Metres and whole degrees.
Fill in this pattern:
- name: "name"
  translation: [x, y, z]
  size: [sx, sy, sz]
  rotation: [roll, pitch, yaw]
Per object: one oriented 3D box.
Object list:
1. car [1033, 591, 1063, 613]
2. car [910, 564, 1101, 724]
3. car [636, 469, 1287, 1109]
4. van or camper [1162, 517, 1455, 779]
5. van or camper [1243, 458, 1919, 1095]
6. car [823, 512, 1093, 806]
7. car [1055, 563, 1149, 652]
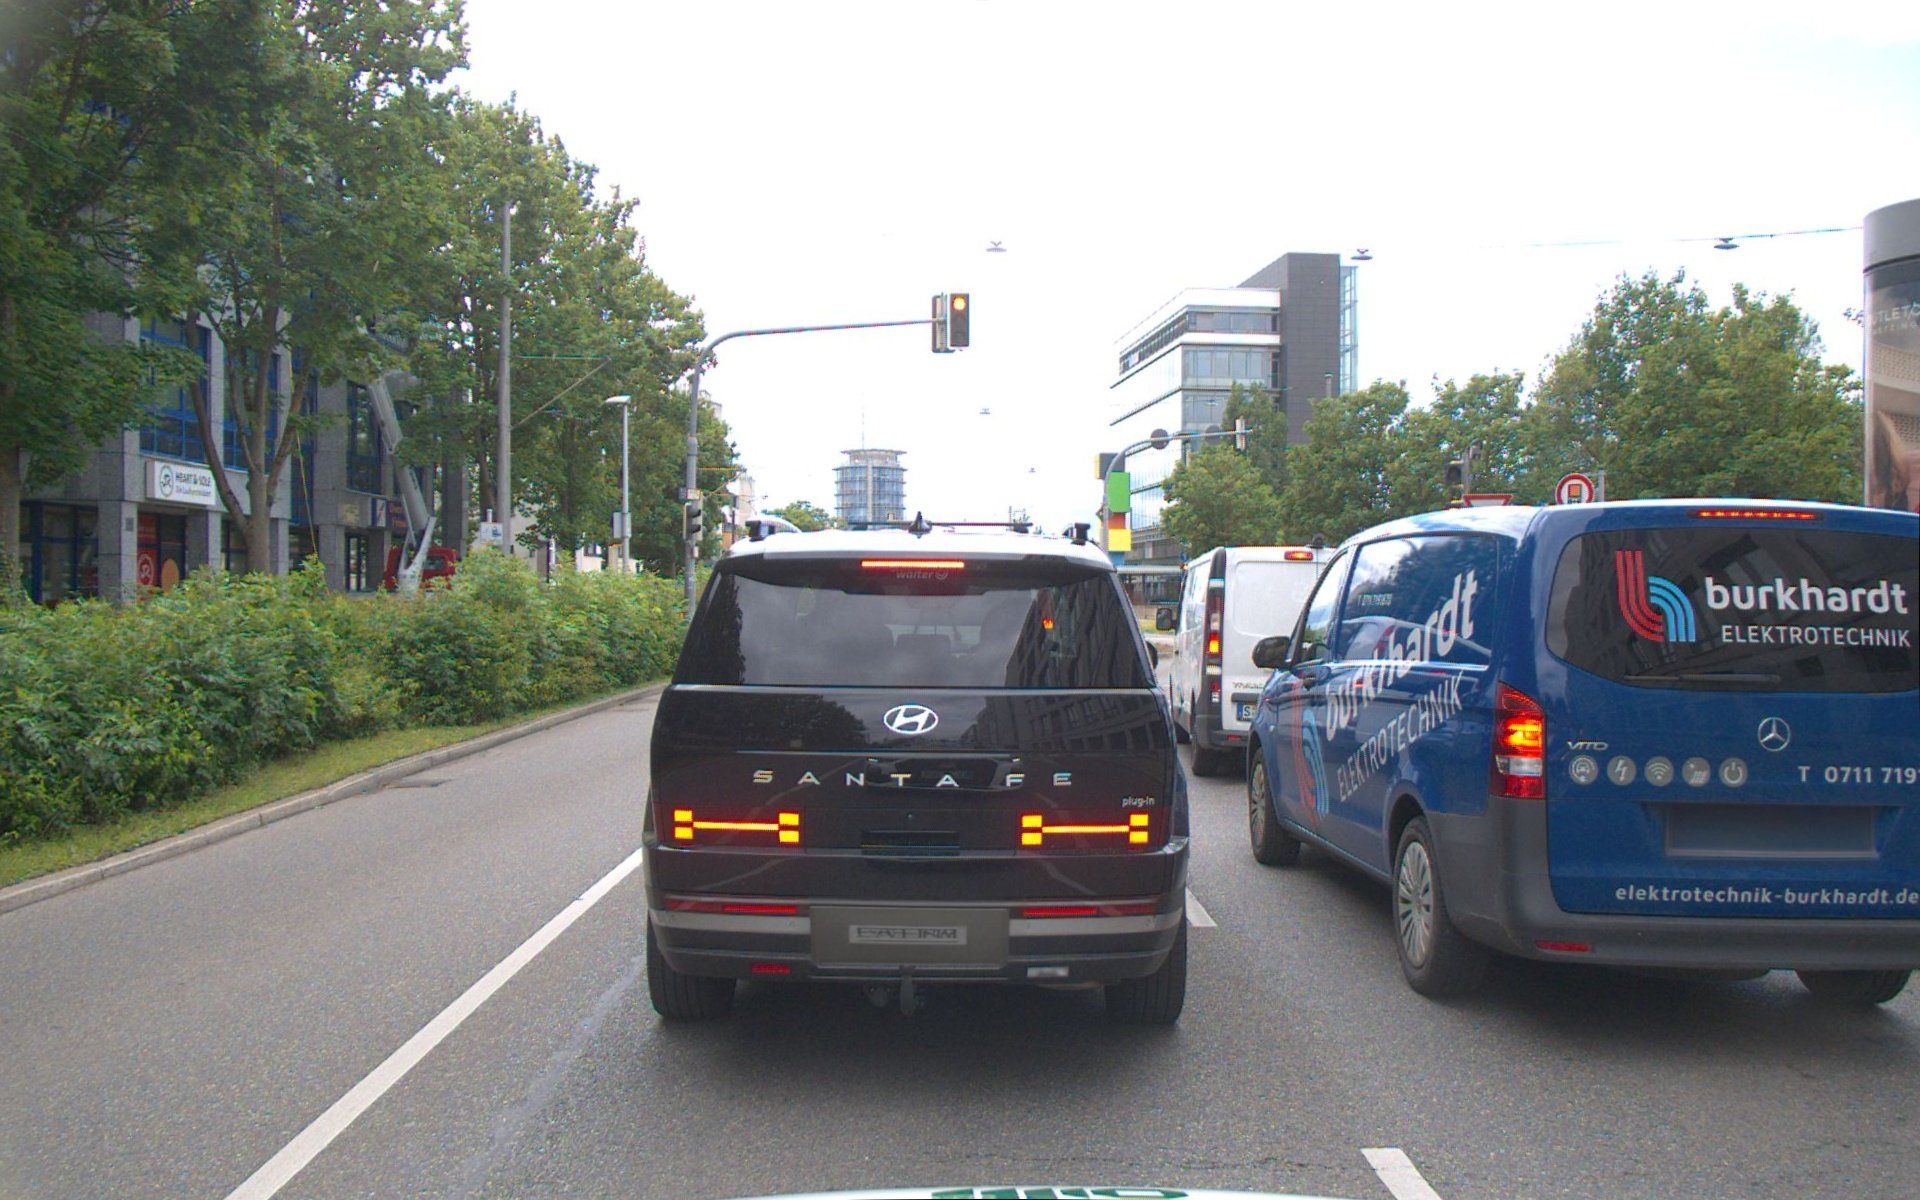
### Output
- name: "car"
  translation: [7.015, 0.171, 131.923]
  size: [1.954, 1.713, 3.997]
  rotation: [1, 0, -3]
- name: "car"
  translation: [0.676, 0.501, 20.431]
  size: [1.738, 1.747, 4.342]
  rotation: [1, 0, 10]
- name: "car"
  translation: [-0.017, 0.520, 6.591]
  size: [1.831, 1.791, 3.879]
  rotation: [0, 0, -1]
- name: "van or camper"
  translation: [3.045, 0.370, 15.449]
  size: [1.952, 2.049, 4.654]
  rotation: [1, 0, 3]
- name: "van or camper"
  translation: [2.671, 0.526, 7.581]
  size: [1.822, 1.944, 5.031]
  rotation: [0, 0, -1]
- name: "car"
  translation: [-0.042, 0.401, 13.425]
  size: [1.876, 2.038, 3.879]
  rotation: [0, 0, -1]
- name: "car"
  translation: [3.416, 0.180, 40.424]
  size: [1.952, 2.049, 4.000]
  rotation: [1, 0, 0]
